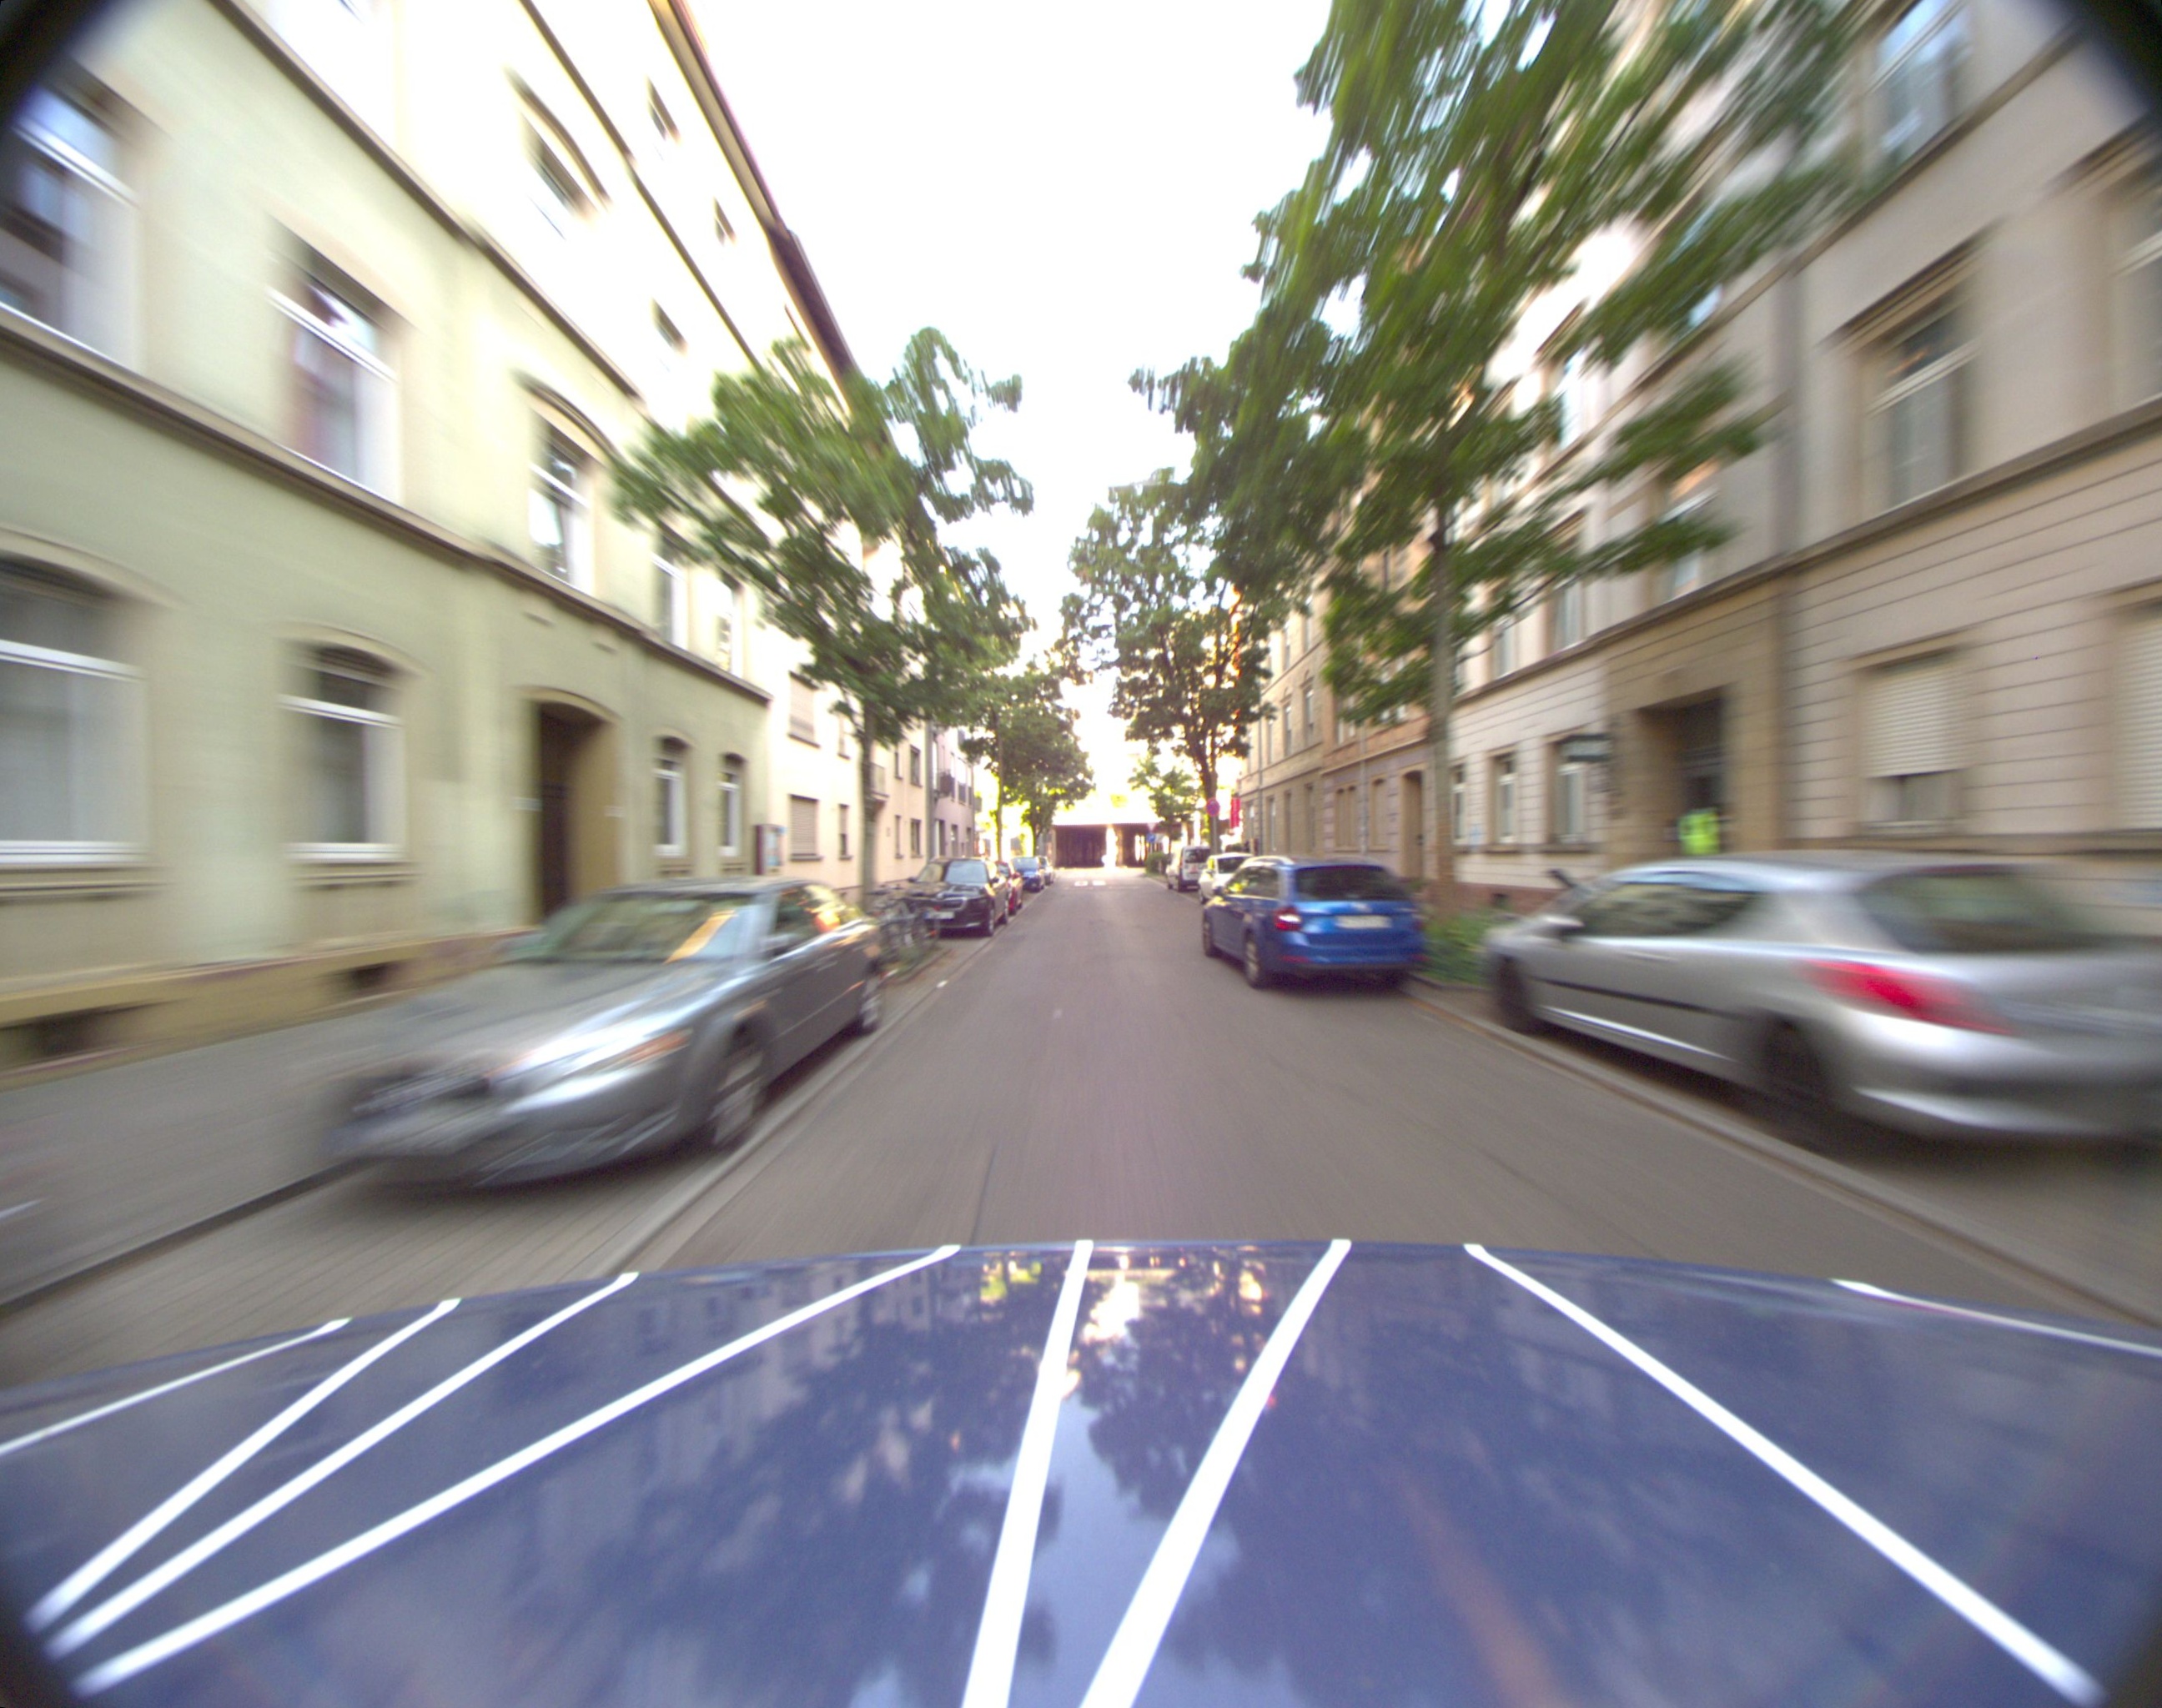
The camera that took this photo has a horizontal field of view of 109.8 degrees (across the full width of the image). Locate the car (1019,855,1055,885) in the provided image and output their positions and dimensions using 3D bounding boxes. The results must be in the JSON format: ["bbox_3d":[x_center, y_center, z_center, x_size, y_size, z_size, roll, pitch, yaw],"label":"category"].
[{"bbox_3d":[-2.178,0.755,38.284,1.656,1.381,3.512,-1,1,-2],"label":"car"}]

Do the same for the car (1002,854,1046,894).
[{"bbox_3d":[-2.344,0.788,32.153,1.656,1.501,3.869,-1,1,-2],"label":"car"}]

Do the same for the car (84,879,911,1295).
[{"bbox_3d":[-2.795,0.983,5.371,2.052,1.395,4.865,0,1,0],"label":"car"}]

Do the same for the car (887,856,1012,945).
[{"bbox_3d":[-2.537,0.834,15.657,1.835,1.530,4.123,0,1,0],"label":"car"}]

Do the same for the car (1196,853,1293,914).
[{"bbox_3d":[4.467,0.749,21.336,1.756,1.486,3.756,-1,1,-2],"label":"car"}]

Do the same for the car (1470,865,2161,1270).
[{"bbox_3d":[4.291,0.869,4.885,1.614,1.431,3.848,-2,1,1],"label":"car"}]

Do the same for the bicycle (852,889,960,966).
[{"bbox_3d":[-2.763,1.116,11.943,1.753,1.015,0.642,1,2,36],"label":"bicycle"}]

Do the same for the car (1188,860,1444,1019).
[{"bbox_3d":[2.580,0.842,9.483,1.665,1.448,4.282,0,1,-3],"label":"car"}]

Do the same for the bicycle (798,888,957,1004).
[{"bbox_3d":[-2.465,1.071,9.247,1.761,1.217,0.639,-1,2,-27],"label":"bicycle"}]

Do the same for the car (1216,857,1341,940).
[{"bbox_3d":[4.068,0.852,16.219,1.756,1.486,3.757,-1,1,2],"label":"car"}]

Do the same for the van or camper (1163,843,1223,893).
[{"bbox_3d":[4.445,0.500,30.554,1.684,1.847,3.756,-1,1,-2],"label":"van or camper"}]

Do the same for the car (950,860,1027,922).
[{"bbox_3d":[-2.438,0.940,20.743,1.656,1.431,3.638,-1,1,0],"label":"car"}]
